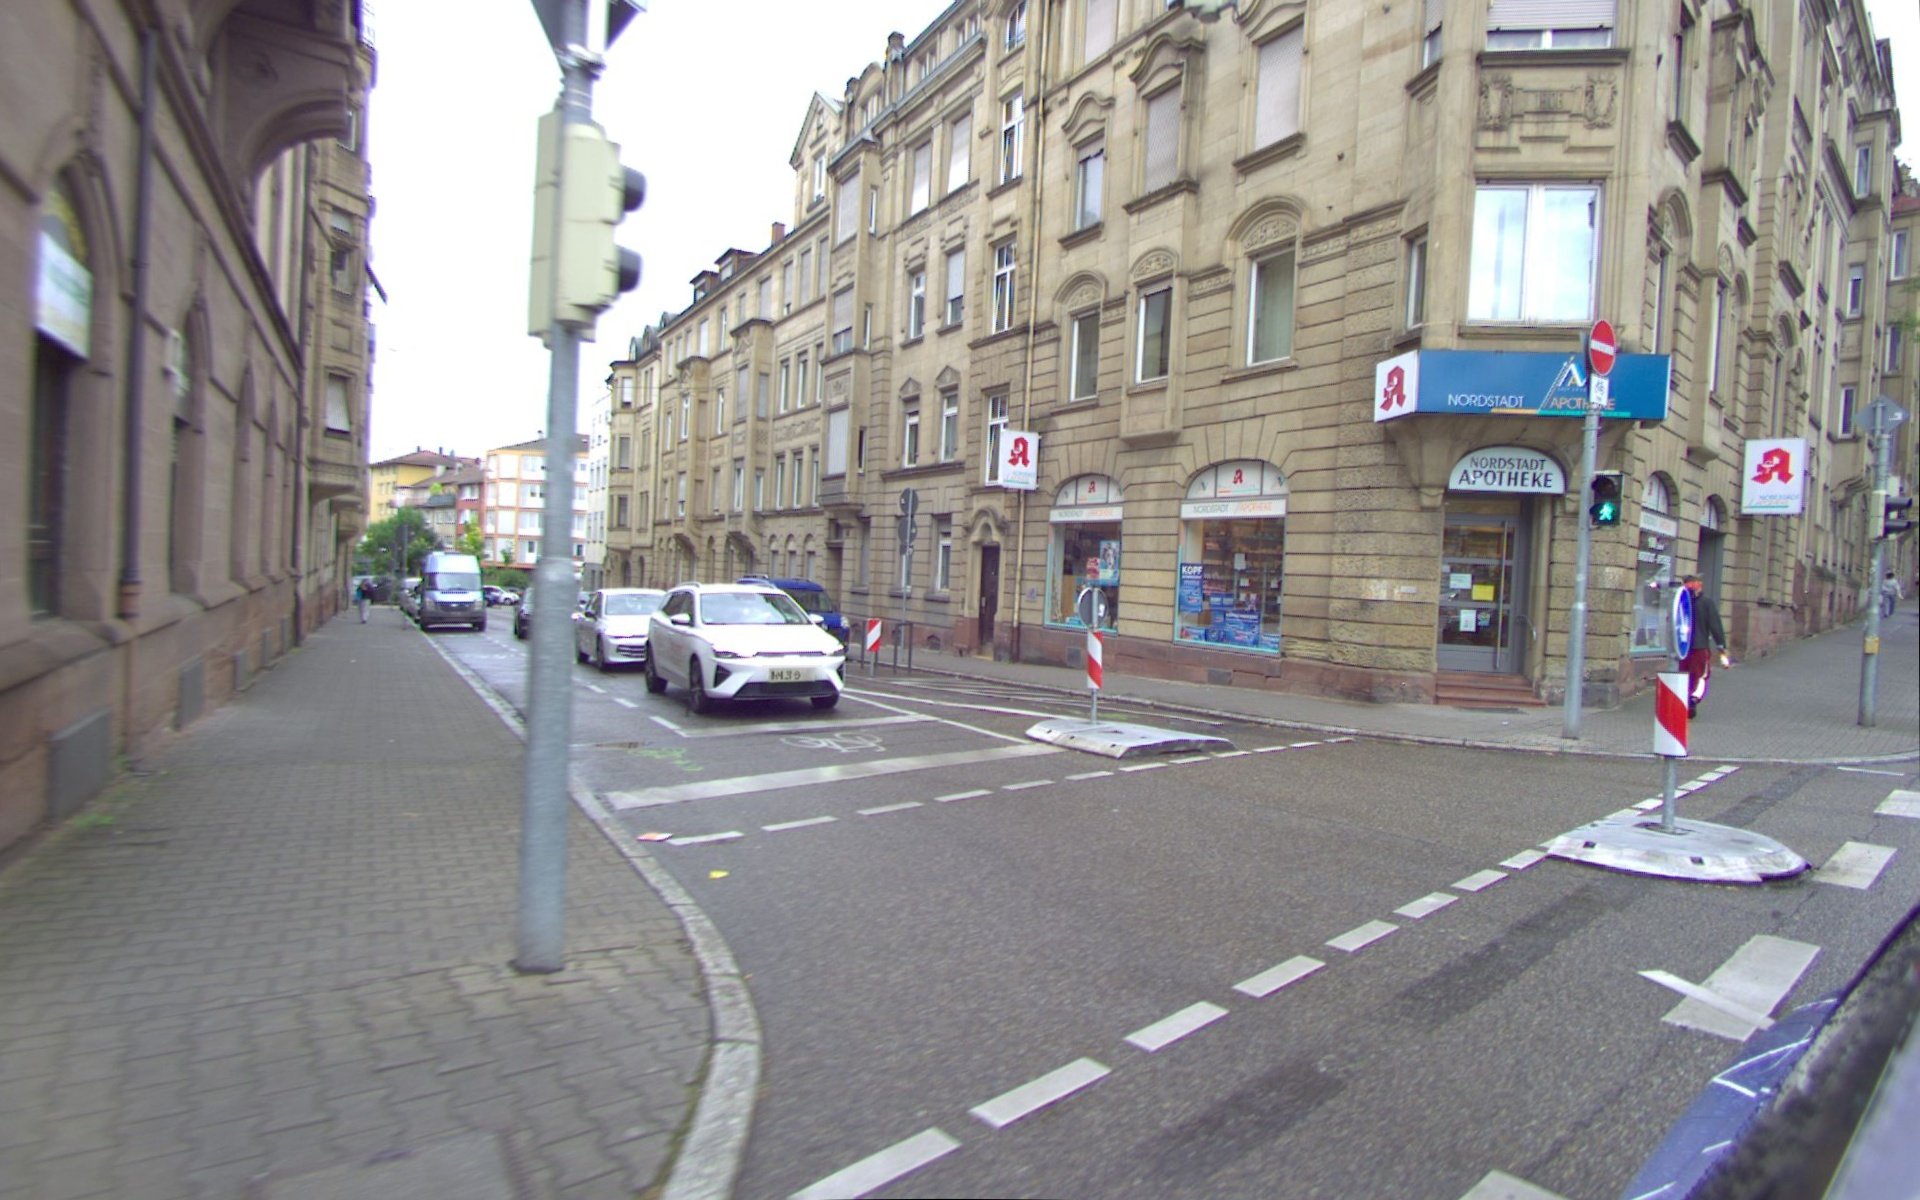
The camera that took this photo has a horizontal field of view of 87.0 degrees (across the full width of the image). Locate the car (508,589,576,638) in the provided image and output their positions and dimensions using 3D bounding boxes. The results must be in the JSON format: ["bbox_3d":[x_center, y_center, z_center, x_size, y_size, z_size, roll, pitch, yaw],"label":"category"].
[{"bbox_3d":[-12.243,0.359,29.817,1.727,1.320,3.738,0,1,-20],"label":"car"}]

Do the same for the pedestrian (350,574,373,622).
[{"bbox_3d":[-21.166,-0.066,35.796,0.649,1.665,0.567,0,0,-36],"label":"pedestrian"}]

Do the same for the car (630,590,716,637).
[{"bbox_3d":[-9.538,0.416,33.457,1.678,1.460,3.934,1,0,-32],"label":"car"}]

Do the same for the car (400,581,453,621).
[{"bbox_3d":[-22.191,0.021,42.016,1.639,1.589,3.934,1,0,-32],"label":"car"}]

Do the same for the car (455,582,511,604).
[{"bbox_3d":[-37.967,-0.540,80.606,3.712,1.708,1.715,1,1,-4],"label":"car"}]

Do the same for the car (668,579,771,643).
[{"bbox_3d":[-7.008,0.292,29.250,1.713,1.717,3.934,1,0,-32],"label":"car"}]

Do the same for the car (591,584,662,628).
[{"bbox_3d":[-12.663,0.205,38.289,1.639,1.589,3.934,1,0,-32],"label":"car"}]

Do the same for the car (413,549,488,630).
[{"bbox_3d":[-17.662,-0.371,34.936,2.082,2.566,5.480,0,1,-29],"label":"car"}]

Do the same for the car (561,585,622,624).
[{"bbox_3d":[-15.873,0.171,43.492,1.639,1.589,3.934,1,0,-32],"label":"car"}]

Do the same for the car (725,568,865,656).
[{"bbox_3d":[-4.056,0.257,24.308,1.806,1.924,4.181,1,0,-32],"label":"car"}]

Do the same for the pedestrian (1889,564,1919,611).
[{"bbox_3d":[32.044,-0.434,34.316,0.680,1.513,0.644,-6,9,-43],"label":"pedestrian"}]

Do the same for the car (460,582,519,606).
[{"bbox_3d":[-35.112,-0.424,75.534,3.919,1.741,1.822,0,1,-29],"label":"car"}]

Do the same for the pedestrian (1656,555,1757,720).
[{"bbox_3d":[9.362,0.430,12.693,1.070,1.973,0.700,-1,1,-35],"label":"pedestrian"}]

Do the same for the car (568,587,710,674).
[{"bbox_3d":[-6.131,0.481,19.051,1.692,1.444,4.084,0,1,-30],"label":"car"}]

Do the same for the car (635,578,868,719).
[{"bbox_3d":[-2.958,0.511,13.444,1.804,1.529,4.580,1,0,-28],"label":"car"}]
